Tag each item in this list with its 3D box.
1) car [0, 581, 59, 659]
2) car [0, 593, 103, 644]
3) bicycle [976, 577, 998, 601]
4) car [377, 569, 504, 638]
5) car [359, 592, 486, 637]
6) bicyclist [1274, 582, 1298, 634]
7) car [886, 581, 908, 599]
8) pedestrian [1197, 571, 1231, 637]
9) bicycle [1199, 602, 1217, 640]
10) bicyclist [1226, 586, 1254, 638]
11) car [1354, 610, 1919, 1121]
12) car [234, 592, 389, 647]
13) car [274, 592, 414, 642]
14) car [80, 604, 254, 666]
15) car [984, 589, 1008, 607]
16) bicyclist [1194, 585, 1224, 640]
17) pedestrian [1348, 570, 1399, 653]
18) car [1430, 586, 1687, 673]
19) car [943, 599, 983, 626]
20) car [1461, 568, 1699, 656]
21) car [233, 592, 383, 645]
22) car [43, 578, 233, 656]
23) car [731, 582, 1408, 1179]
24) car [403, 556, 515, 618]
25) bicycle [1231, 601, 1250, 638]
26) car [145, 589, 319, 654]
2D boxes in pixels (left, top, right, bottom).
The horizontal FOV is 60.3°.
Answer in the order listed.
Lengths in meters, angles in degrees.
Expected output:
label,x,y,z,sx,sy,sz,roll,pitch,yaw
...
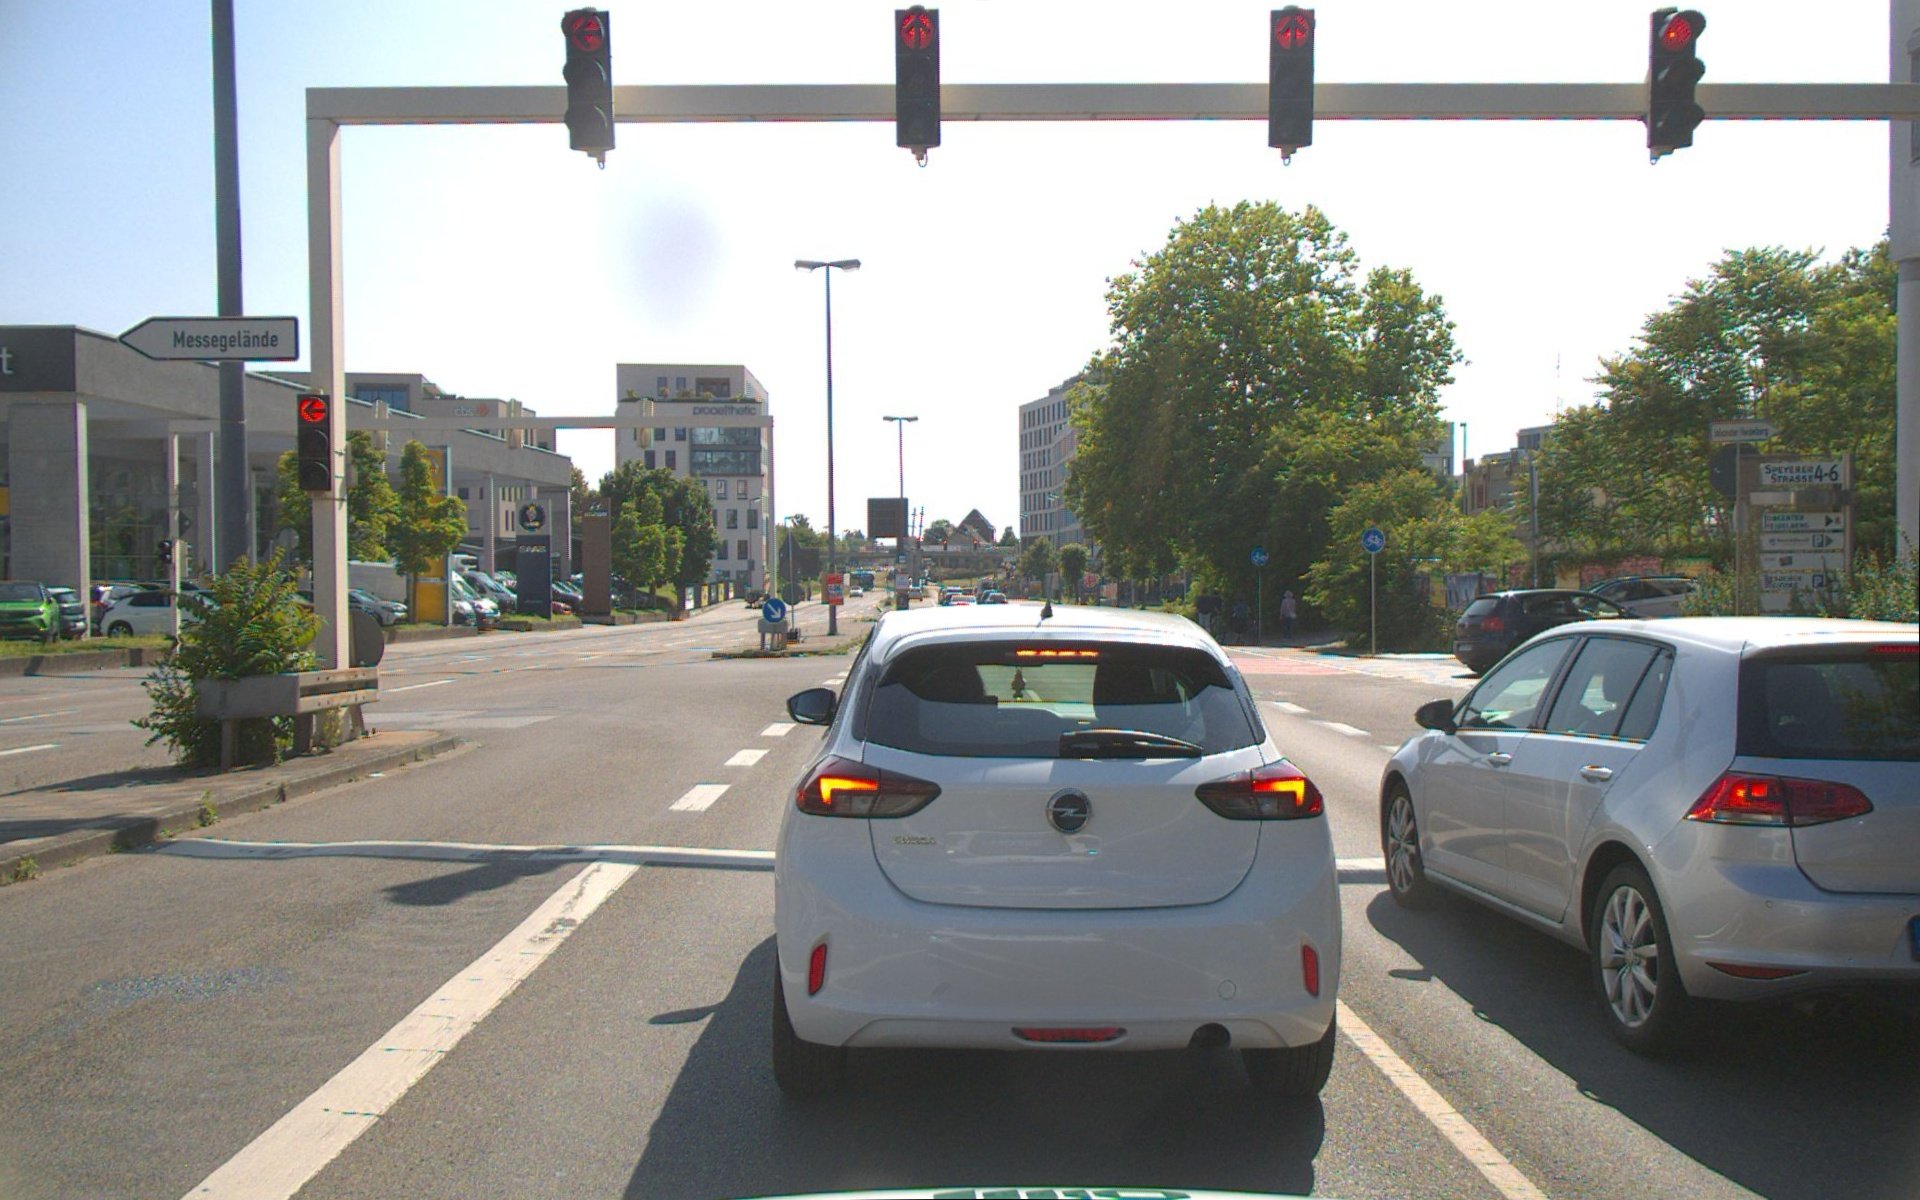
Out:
label,x,y,z,sx,sy,sz,roll,pitch,yaw
car,-22.559,0.496,38.938,1.887,1.764,3.250,-1,-1,-37
car,-26.263,0.539,45.518,4.276,1.290,1.996,-2,-1,-9
bicycle,2.507,-1.031,155.265,1.953,2.195,3.999,-1,0,-1
car,-21.138,0.144,67.401,4.401,2.731,2.130,-1,0,8
car,-21.067,0.560,64.954,4.264,1.726,2.001,-1,0,6
bicyclist,10.654,0.265,54.064,0.639,1.666,0.659,1,-1,-1
car,-5.388,-0.858,141.561,1.769,1.410,3.999,1,-1,-1
pedestrian,8.970,0.138,58.481,1.006,2.278,1.038,0,0,-1
bicycle,8.225,0.682,54.876,0.365,1.238,1.153,1,0,-1
bicyclist,9.087,0.381,53.665,0.675,1.672,0.775,0,0,-9
car,3.103,0.777,6.838,1.771,1.454,3.997,-1,0,-4
car,-21.016,0.619,53.758,4.270,1.726,1.999,0,0,-3
car,-21.991,0.586,59.169,4.270,1.726,1.999,-1,0,-4
car,-21.951,0.937,45.912,3.912,1.627,1.997,-1,0,-8
car,2.941,-0.171,134.970,1.769,1.410,3.999,1,-1,-1
bicyclist,8.261,0.417,54.868,0.861,1.803,0.863,0,0,-1
pedestrian,10.468,0.284,41.885,1.006,2.049,1.038,0,0,-1
car,10.779,0.500,29.947,3.913,1.467,1.996,-1,0,-9
car,0.201,0.671,87.684,1.952,1.355,4.001,1,-1,2
car,12.931,0.251,34.778,4.325,1.578,2.002,-3,0,10
car,-22.008,0.611,55.974,4.270,1.726,1.999,-1,0,-4
car,-20.728,0.405,41.833,3.793,1.870,1.999,-1,0,-4
car,0.254,0.715,6.281,1.743,1.520,3.999,-1,0,-1
car,-21.984,-0.578,72.701,4.265,2.646,2.001,-1,0,4
bicycle,9.099,0.627,53.614,0.366,1.167,1.034,1,-1,-3
car,-21.393,0.614,48.733,4.211,1.796,1.999,-1,0,-4
